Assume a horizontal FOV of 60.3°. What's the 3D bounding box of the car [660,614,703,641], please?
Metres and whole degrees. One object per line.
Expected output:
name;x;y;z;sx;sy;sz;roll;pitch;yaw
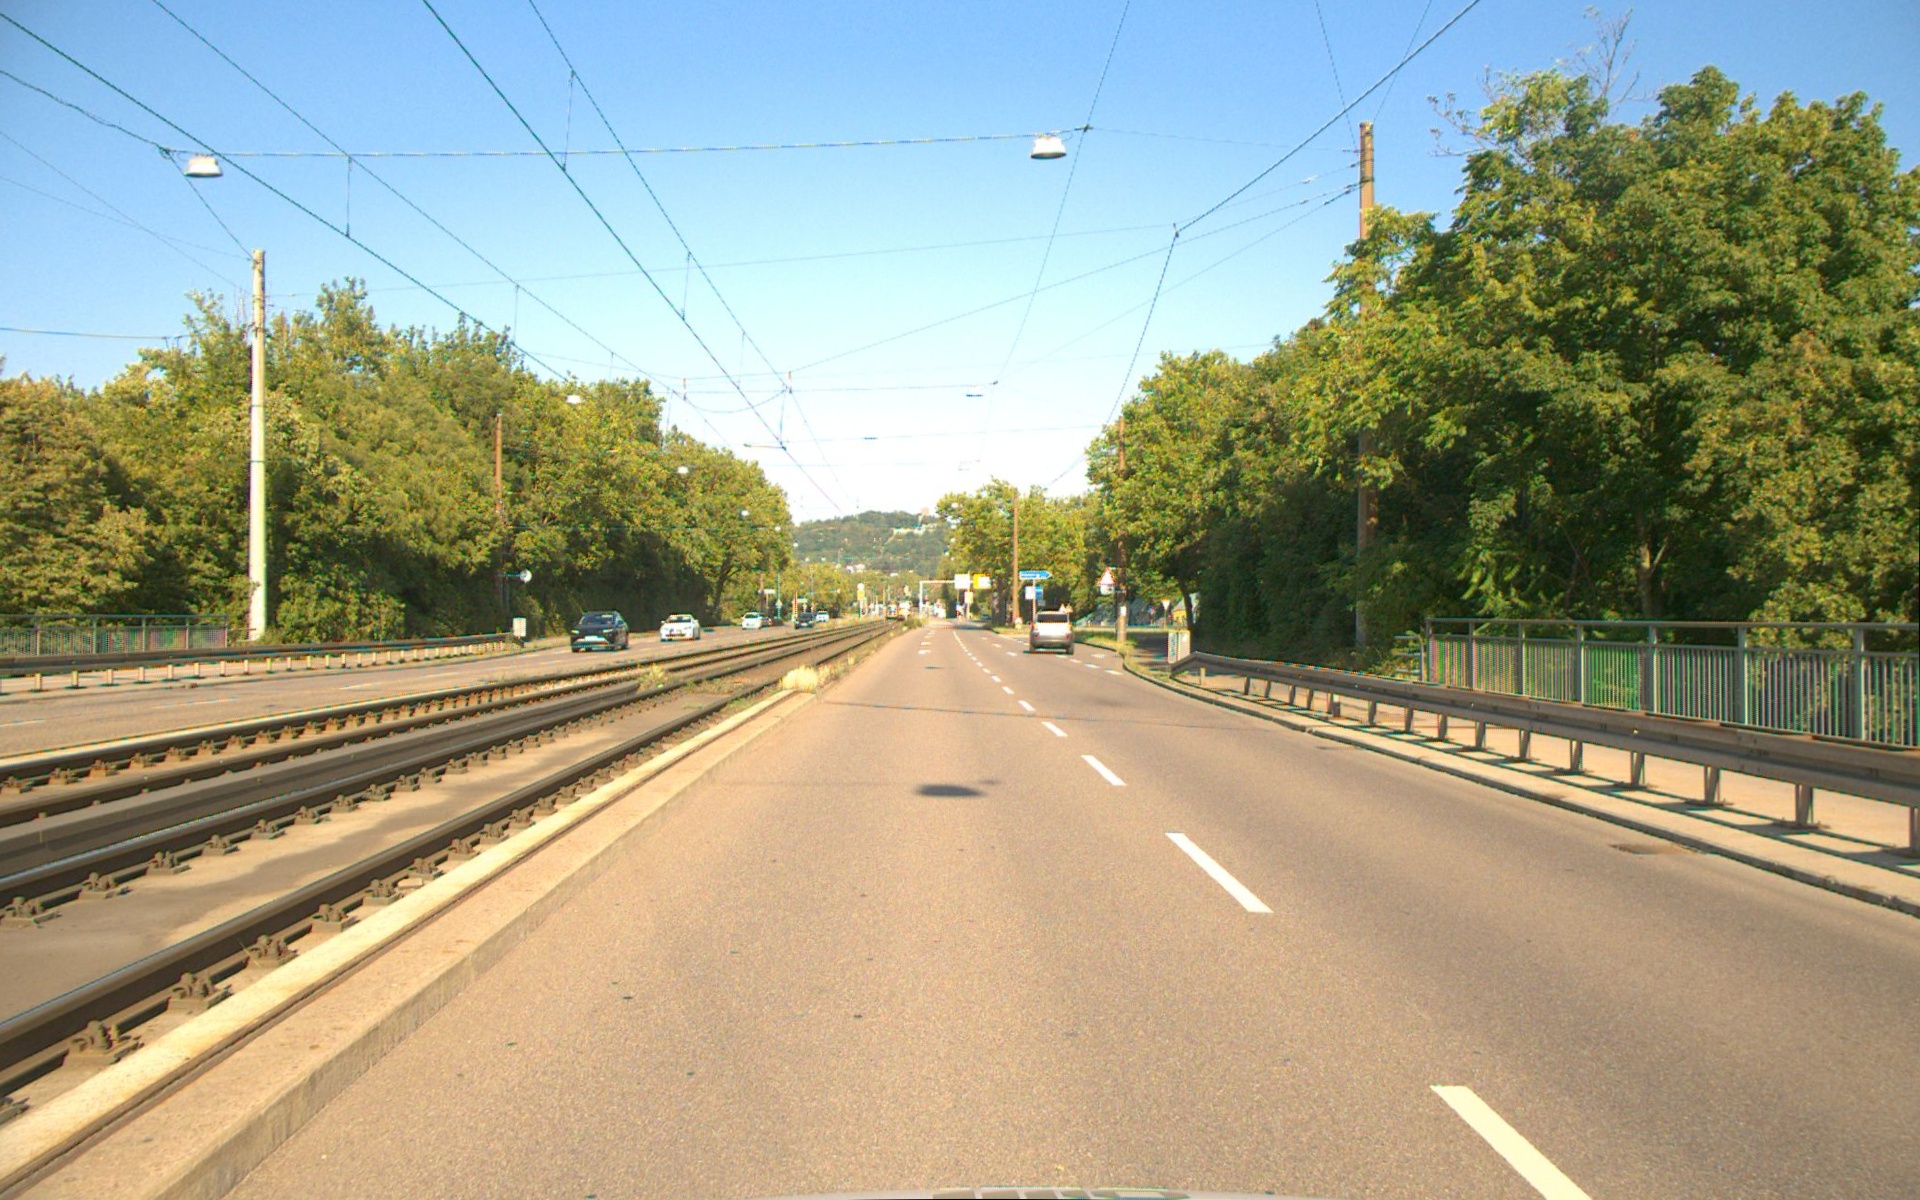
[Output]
car;-15.655;1.535;93.232;1.720;1.439;4.875;-2;-1;-2

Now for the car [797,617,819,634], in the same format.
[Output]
car;-13.972;2.361;152.207;1.623;1.458;4.501;-2;-1;0

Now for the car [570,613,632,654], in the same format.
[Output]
car;-14.914;1.371;68.871;1.674;1.608;4.799;0;-1;-2

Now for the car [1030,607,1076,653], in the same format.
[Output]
car;3.838;1.217;68.030;1.771;1.804;3.864;1;-1;3

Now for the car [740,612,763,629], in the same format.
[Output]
car;-20.477;1.982;162.376;1.657;1.583;4.190;-2;-1;0
